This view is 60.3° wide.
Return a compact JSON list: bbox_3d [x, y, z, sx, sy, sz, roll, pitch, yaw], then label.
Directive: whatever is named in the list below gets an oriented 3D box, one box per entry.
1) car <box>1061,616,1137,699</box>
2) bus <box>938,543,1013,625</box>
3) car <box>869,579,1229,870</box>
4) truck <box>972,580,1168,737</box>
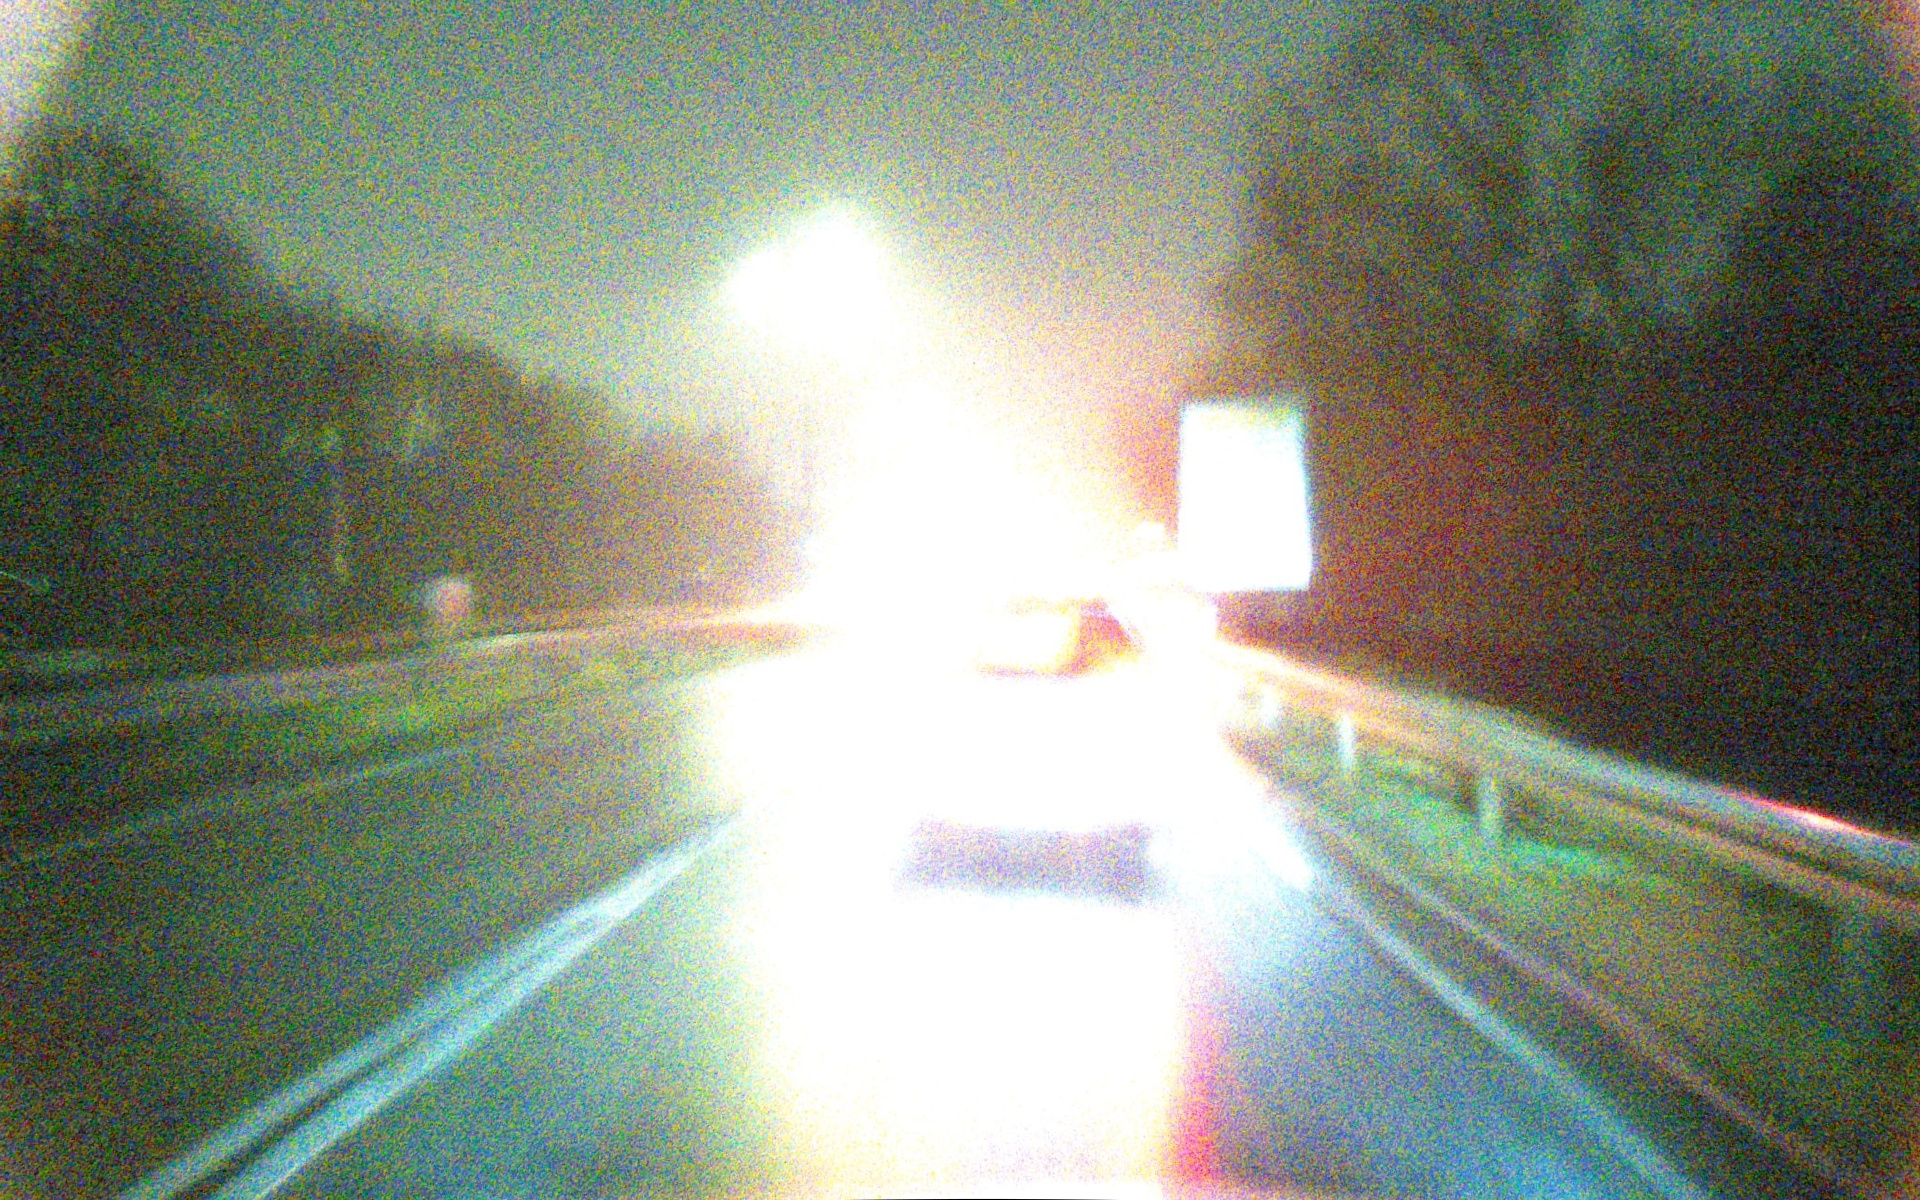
[{"bbox_3d":[3.633,1.446,42.713,1.797,1.982,4.002,2,-1,6],"label":"car"},{"bbox_3d":[0.749,-0.661,70.564,2.686,3.178,9.205,2,0,3],"label":"bus"},{"bbox_3d":[0.626,0.665,10.635,1.903,1.517,3.718,0,0,5],"label":"car"},{"bbox_3d":[2.300,1.064,31.687,3.004,2.573,7.172,2,-1,9],"label":"truck"}]
